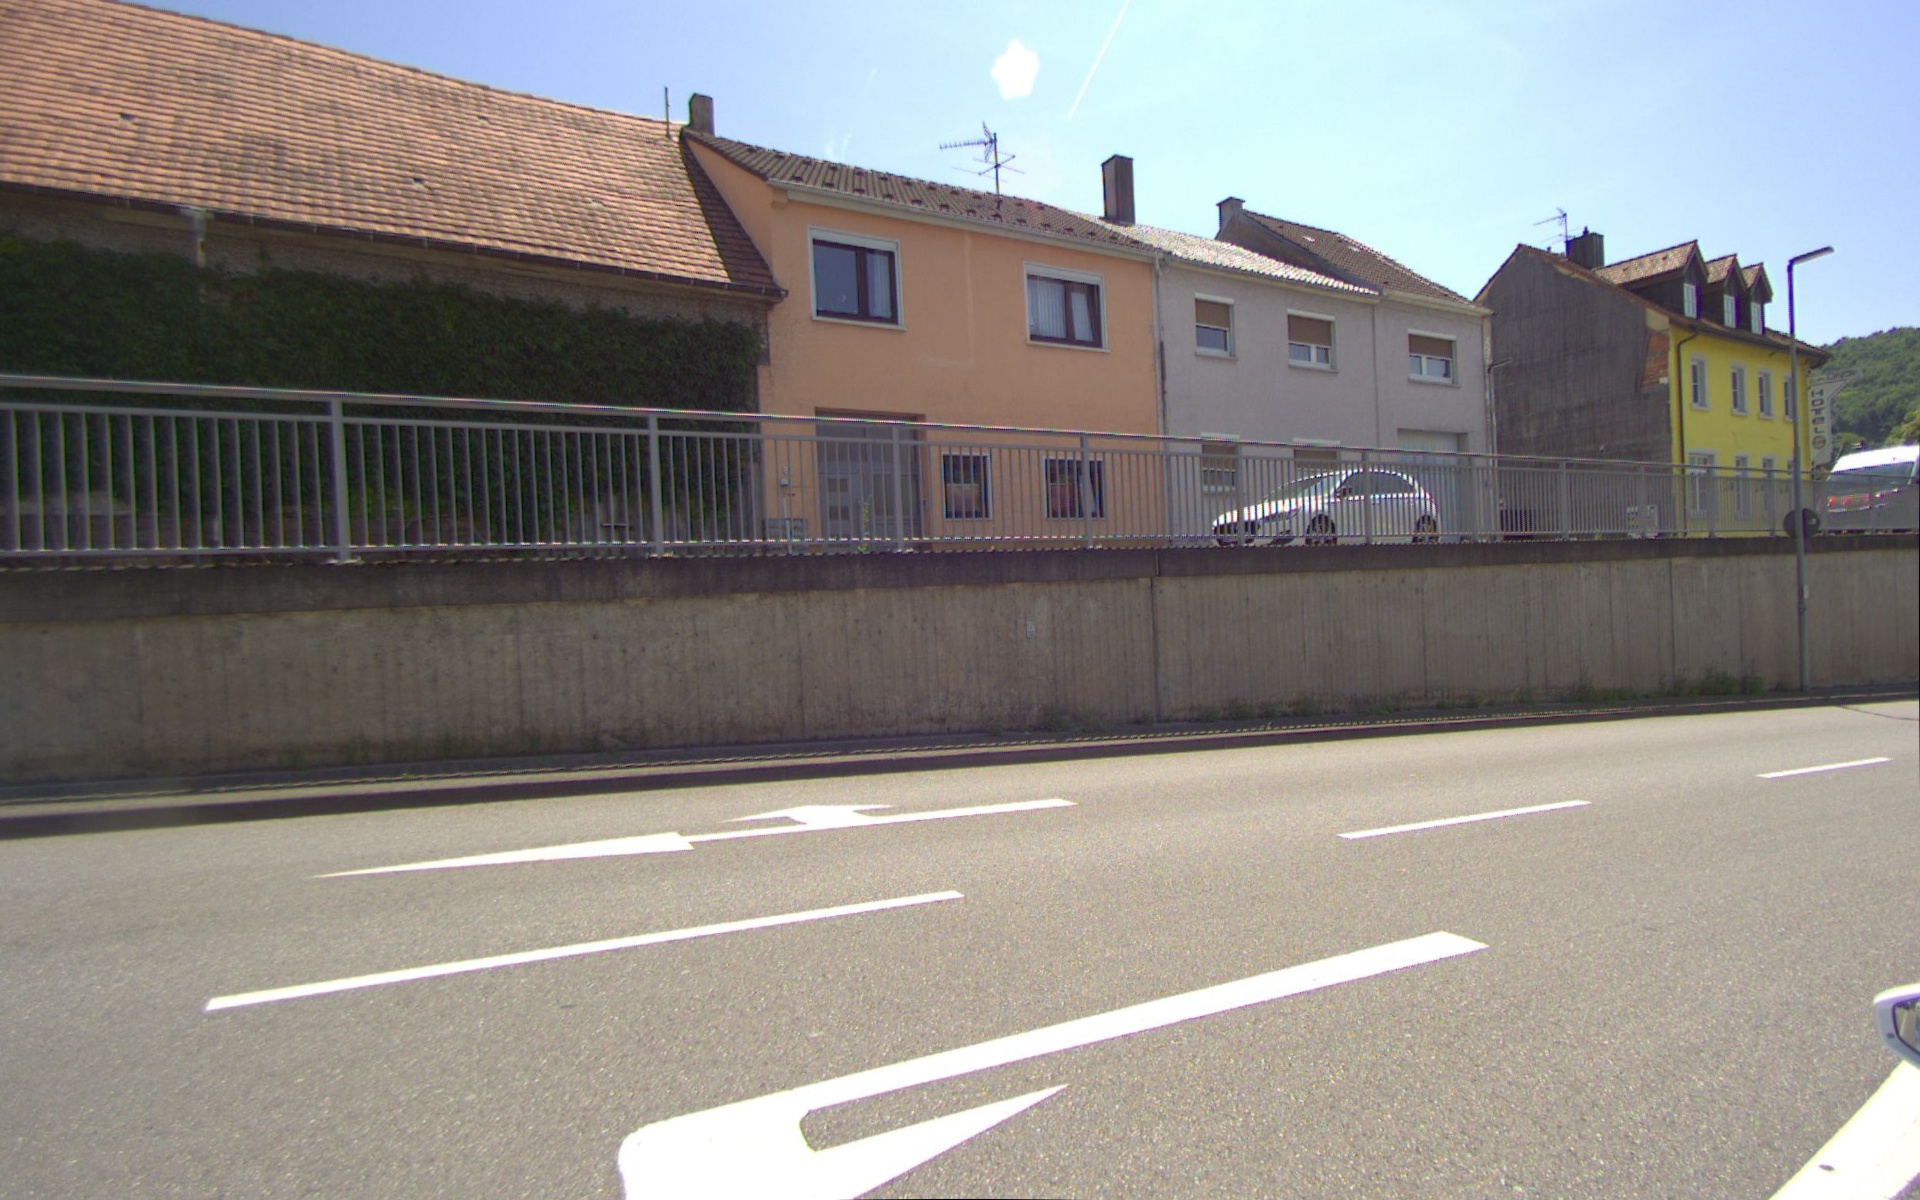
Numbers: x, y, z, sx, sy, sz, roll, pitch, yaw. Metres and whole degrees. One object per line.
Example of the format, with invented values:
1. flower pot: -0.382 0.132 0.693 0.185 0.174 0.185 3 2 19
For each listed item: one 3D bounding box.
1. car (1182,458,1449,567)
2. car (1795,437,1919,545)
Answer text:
1. car: 5.711 -1.339 15.982 4.263 1.482 1.802 -3 2 -33
2. car: 24.929 -2.834 26.936 5.592 2.571 2.056 -2 2 -29
